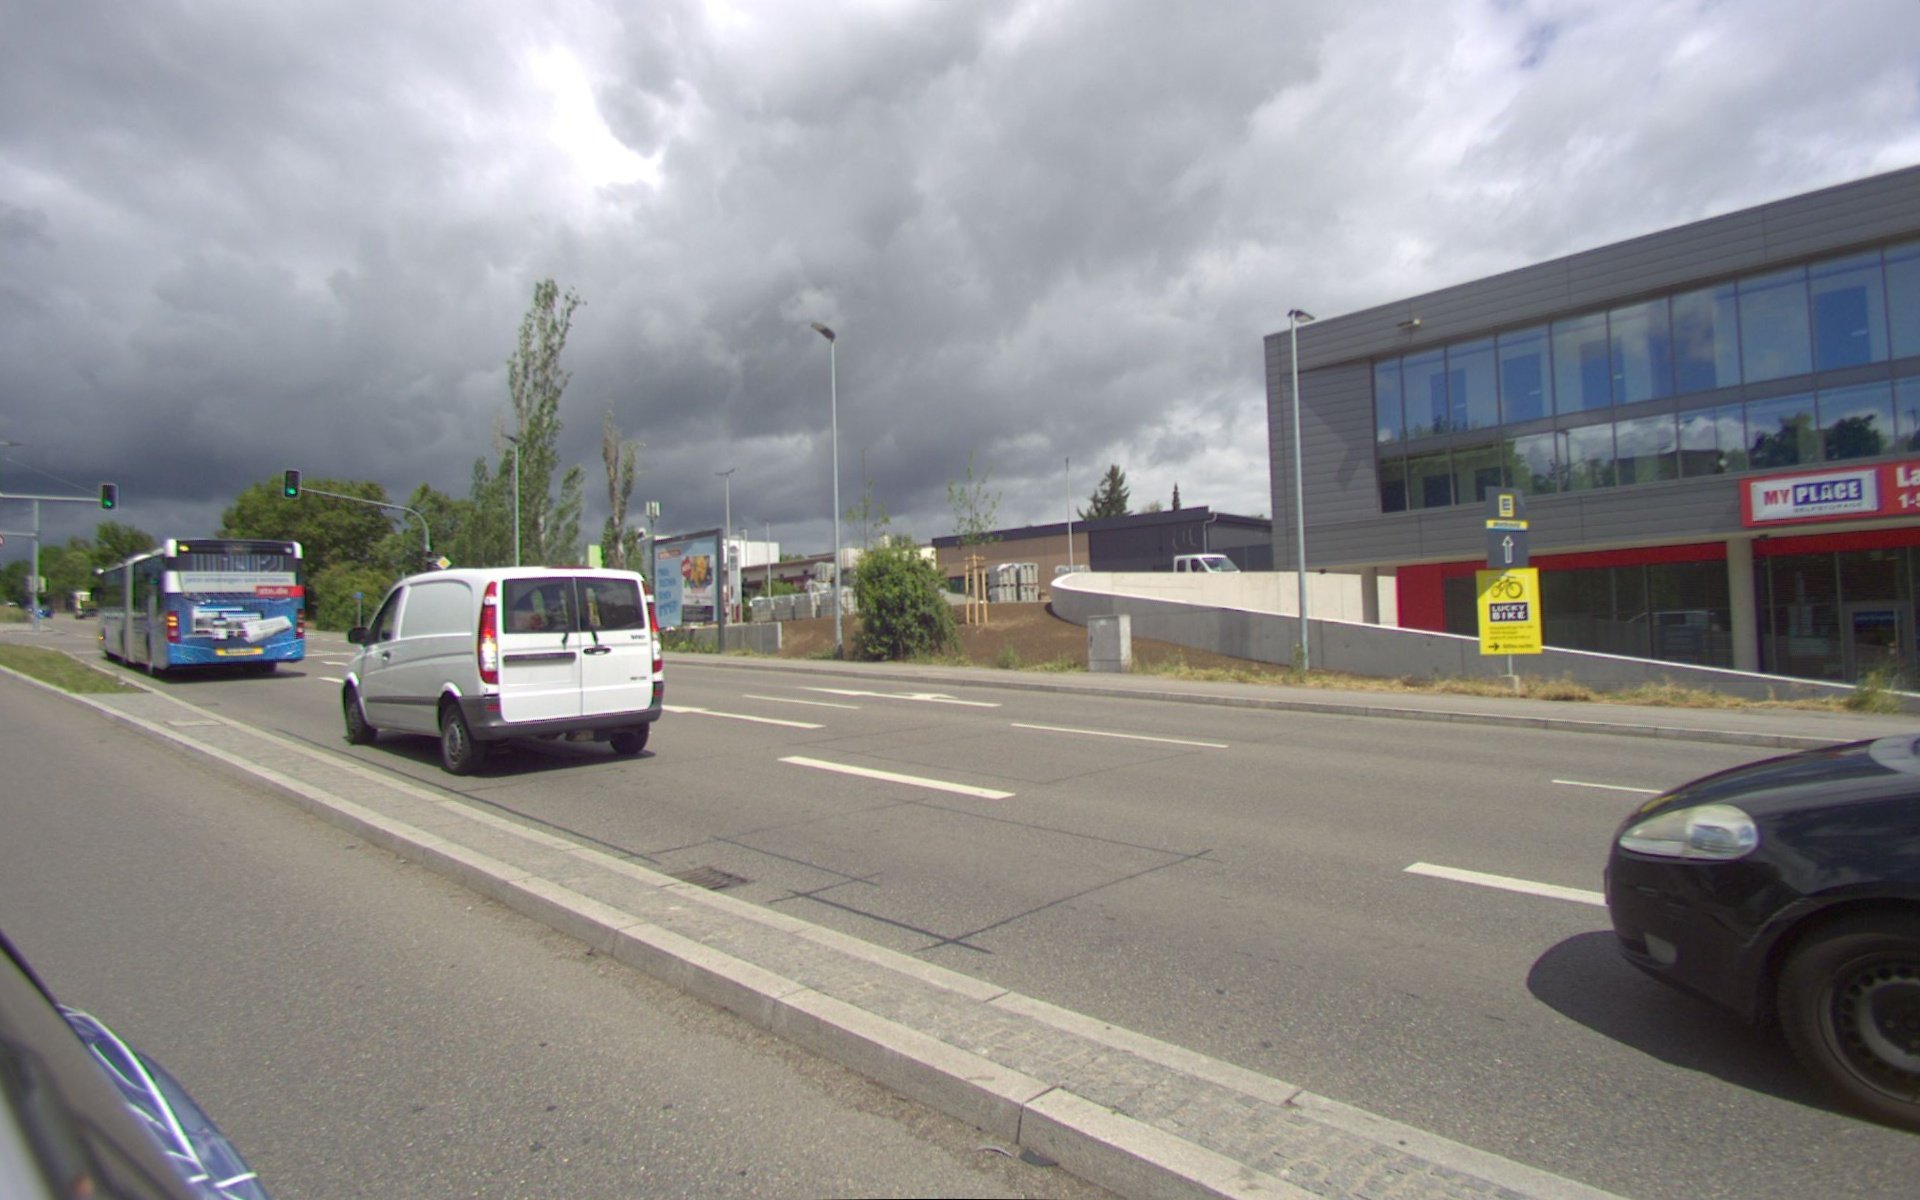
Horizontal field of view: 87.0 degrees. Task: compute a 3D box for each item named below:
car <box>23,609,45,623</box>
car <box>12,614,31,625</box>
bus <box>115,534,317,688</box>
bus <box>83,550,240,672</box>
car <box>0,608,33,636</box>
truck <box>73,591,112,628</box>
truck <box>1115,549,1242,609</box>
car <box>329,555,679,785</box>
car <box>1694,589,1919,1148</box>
[{"bbox_3d":[-114.202,2.022,124.801,4.000,1.411,1.672,-6,-5,43],"label":"car"},{"bbox_3d":[-127.821,2.670,137.873,4.001,1.411,1.672,-2,-2,44],"label":"car"},{"bbox_3d":[-18.697,0.337,25.135,2.783,3.188,8.912,0,-2,-45],"label":"bus"},{"bbox_3d":[-25.384,0.346,31.917,2.783,3.310,10.126,0,-1,-45],"label":"bus"},{"bbox_3d":[-82.213,1.929,88.128,4.001,2.029,1.971,-8,-6,44],"label":"car"},{"bbox_3d":[-101.404,1.165,118.230,6.968,3.606,2.806,-7,-6,43],"label":"truck"},{"bbox_3d":[10.512,-0.933,49.359,1.966,2.162,6.599,-1,-5,-31],"label":"truck"},{"bbox_3d":[-5.070,0.645,10.857,4.752,1.939,1.856,-2,-2,45],"label":"car"},{"bbox_3d":[4.121,0.677,2.294,3.777,1.482,1.619,-2,-1,44],"label":"car"}]
